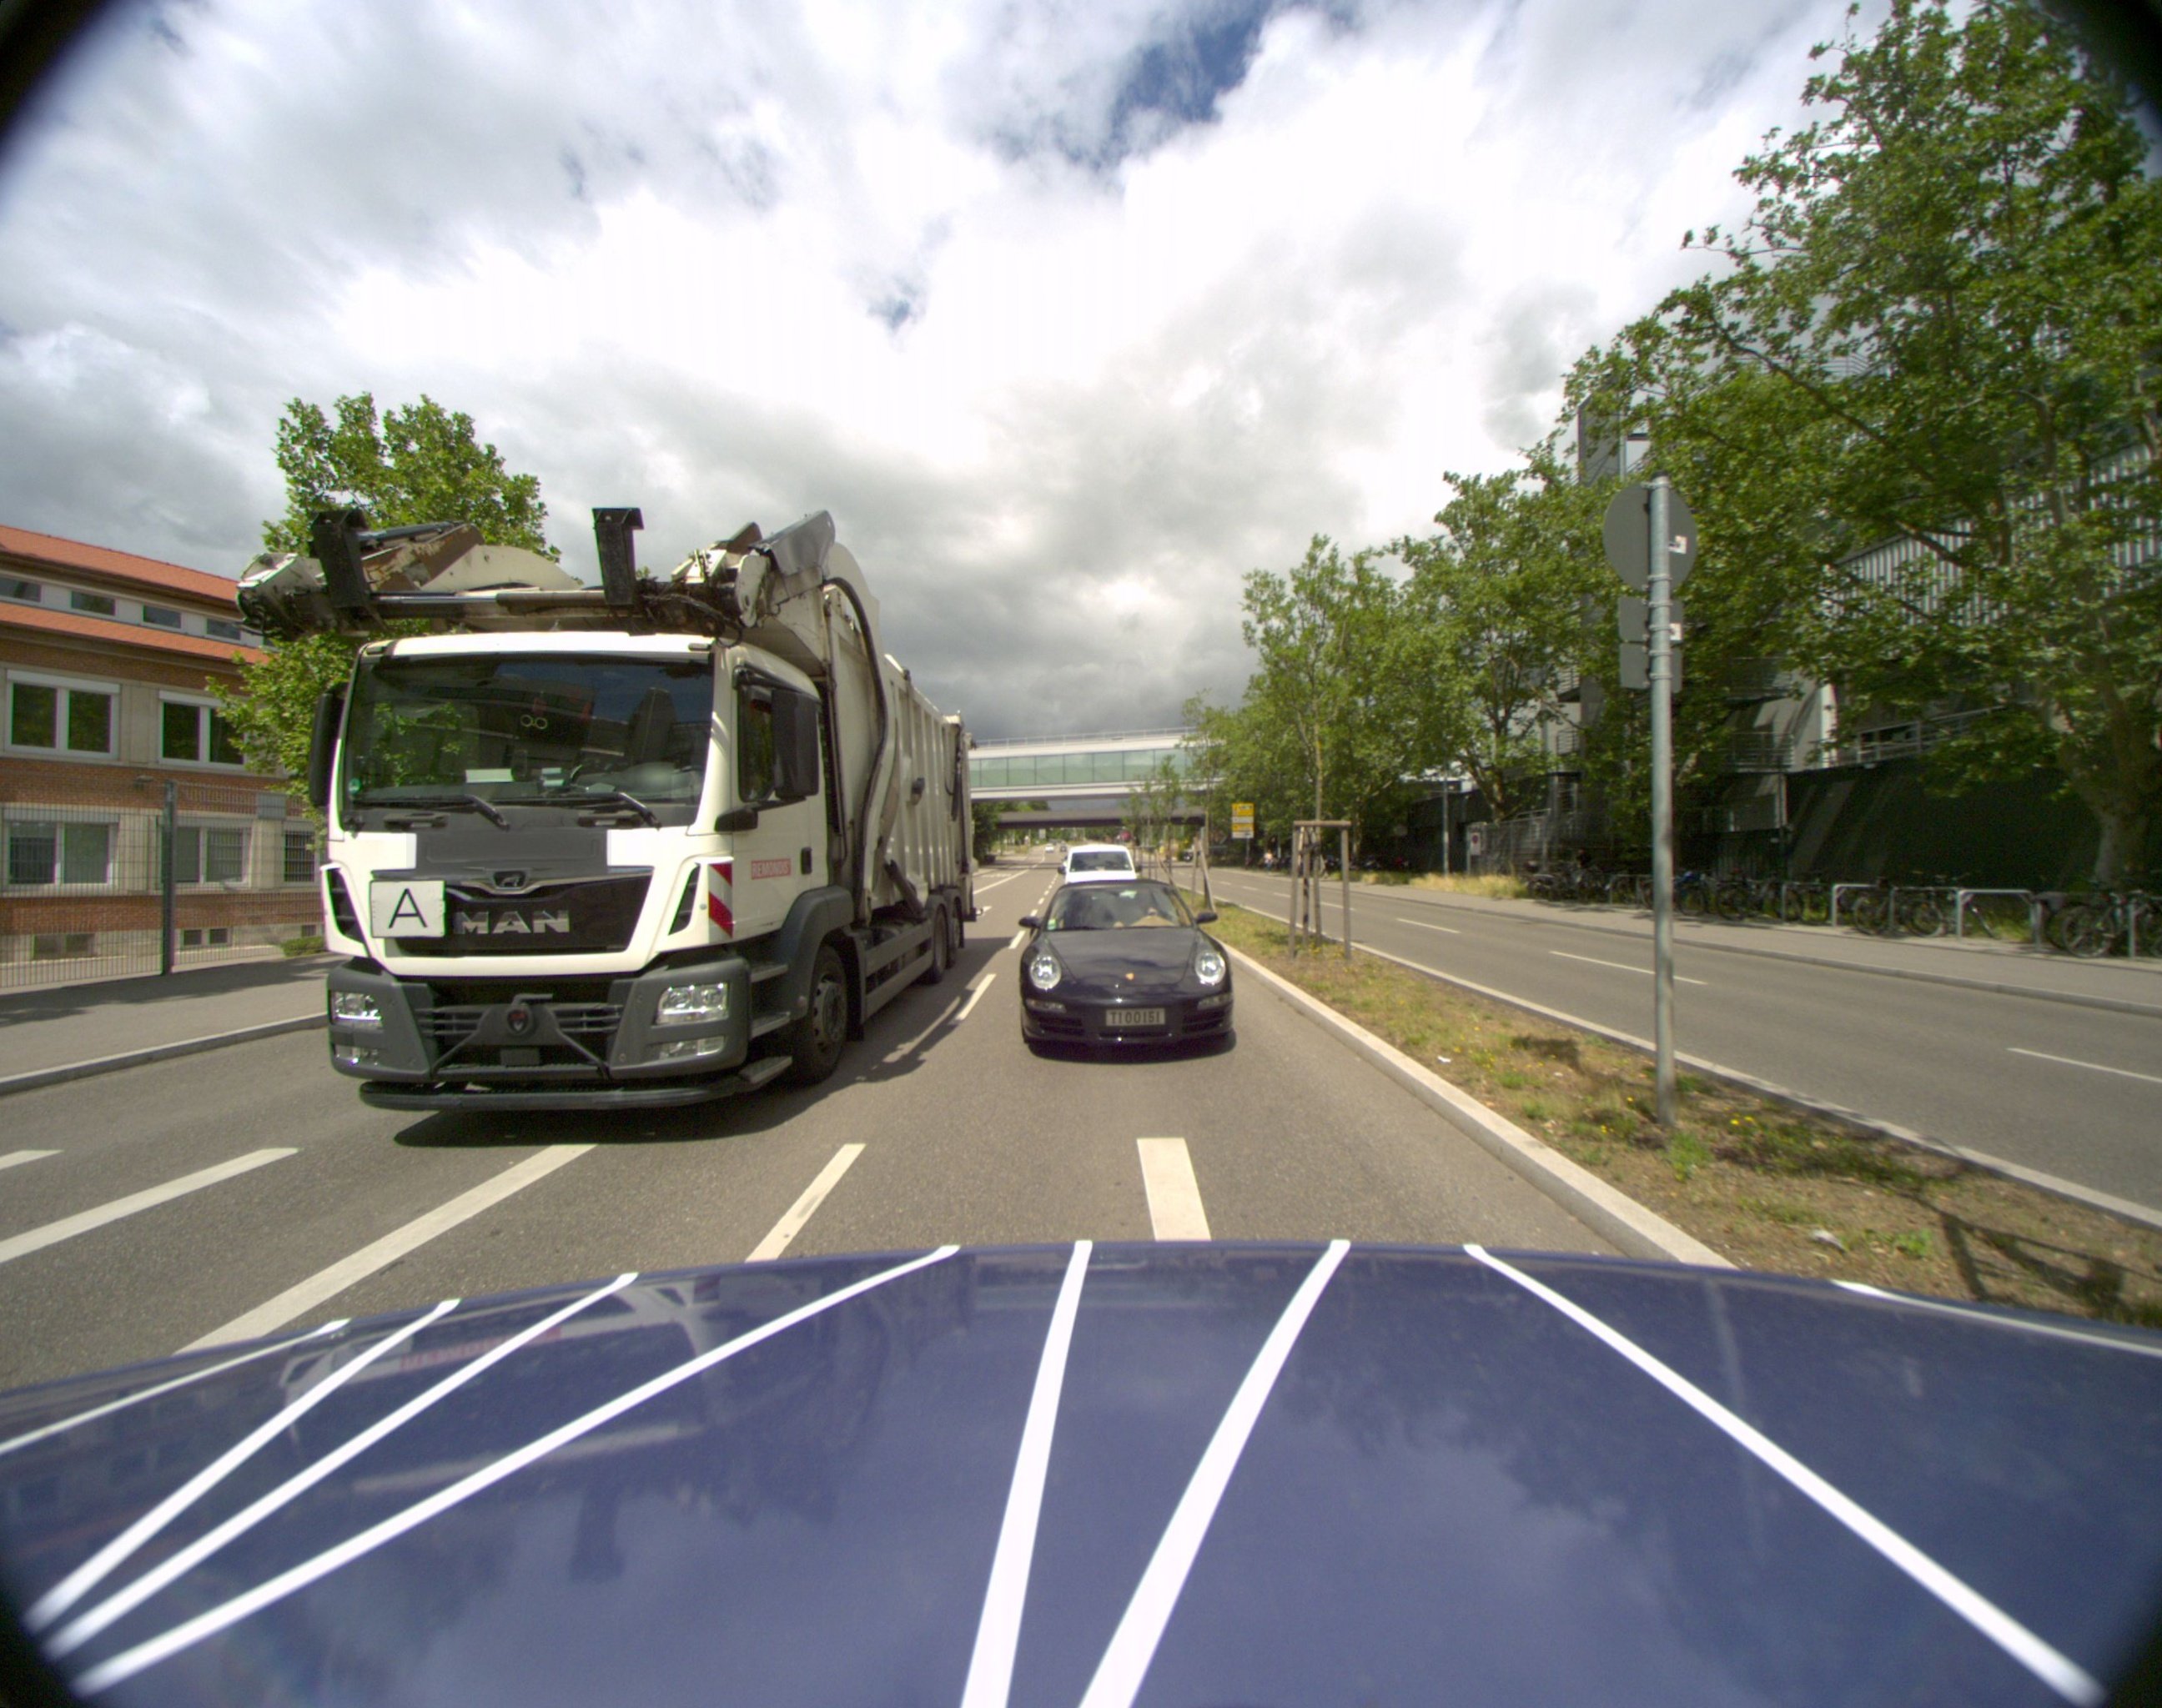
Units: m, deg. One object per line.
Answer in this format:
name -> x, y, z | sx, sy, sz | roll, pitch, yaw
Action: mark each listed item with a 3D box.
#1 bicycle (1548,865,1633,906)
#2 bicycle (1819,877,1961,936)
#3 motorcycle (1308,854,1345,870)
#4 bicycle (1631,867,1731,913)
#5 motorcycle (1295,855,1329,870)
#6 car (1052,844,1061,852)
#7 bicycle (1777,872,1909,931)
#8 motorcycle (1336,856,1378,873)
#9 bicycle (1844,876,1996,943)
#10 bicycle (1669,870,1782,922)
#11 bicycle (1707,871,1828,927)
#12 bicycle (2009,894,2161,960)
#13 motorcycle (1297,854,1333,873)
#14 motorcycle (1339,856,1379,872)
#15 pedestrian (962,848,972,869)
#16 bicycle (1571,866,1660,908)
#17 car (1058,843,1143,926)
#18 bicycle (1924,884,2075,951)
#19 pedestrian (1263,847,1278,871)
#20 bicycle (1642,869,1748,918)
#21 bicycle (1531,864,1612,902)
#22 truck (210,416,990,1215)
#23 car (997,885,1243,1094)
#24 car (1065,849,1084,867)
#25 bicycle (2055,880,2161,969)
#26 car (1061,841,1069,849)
bicycle -> 14.751, 0.906, 22.023 | 2.129, 1.104, 0.382 | -1, 1, 3
bicycle -> 15.010, 0.973, 14.116 | 2.129, 1.025, 0.382 | -1, 1, 3
motorcycle -> 15.423, 0.508, 47.755 | 2.133, 0.963, 0.534 | -1, 0, 1
bicycle -> 15.064, 0.899, 19.088 | 2.129, 1.104, 0.382 | -1, 1, 3
motorcycle -> 15.370, 0.546, 50.570 | 2.133, 0.963, 0.534 | -1, 0, 1
car -> -5.978, -1.491, 188.446 | 1.925, 2.082, 4.657 | -1, 0, 2
bicycle -> 15.040, 0.930, 15.023 | 2.129, 1.104, 0.382 | -1, 1, 3
motorcycle -> 15.390, 0.591, 42.387 | 2.133, 0.893, 0.534 | -1, 0, 1
bicycle -> 14.577, 0.961, 13.222 | 2.129, 1.089, 0.382 | -1, 1, 3
bicycle -> 14.478, 0.936, 17.086 | 2.129, 1.104, 0.382 | -1, 1, 3
bicycle -> 14.499, 0.948, 16.062 | 2.129, 1.104, 0.382 | -1, 1, 3
bicycle -> 14.956, 1.075, 11.242 | 1.993, 0.885, 0.382 | -1, 1, -1
motorcycle -> 15.135, 0.610, 49.116 | 2.133, 1.131, 0.534 | -1, 0, 1
motorcycle -> 16.148, 0.561, 44.192 | 2.133, 0.880, 0.534 | -1, 0, 1
pedestrian -> -10.445, 0.409, 69.839 | 0.739, 1.901, 0.658 | -2, 1, -1
bicycle -> 14.821, 0.919, 21.100 | 2.129, 1.104, 0.382 | -1, 1, 3
car -> 0.479, 0.680, 19.491 | 1.862, 1.800, 4.906 | -1, 0, 1
bicycle -> 14.752, 1.017, 12.221 | 1.993, 0.992, 0.382 | -1, 1, -1
pedestrian -> 13.235, 0.350, 53.019 | 0.900, 1.710, 0.673 | -1, 1, 1
bicycle -> 14.504, 0.928, 17.973 | 2.129, 1.104, 0.382 | -1, 1, 3
bicycle -> 14.747, 0.870, 22.864 | 2.129, 1.104, 0.382 | -1, 1, 3
truck -> -2.982, -0.231, 8.873 | 2.495, 3.890, 10.172 | -2, 1, 0
car -> 0.301, 1.035, 7.270 | 1.710, 1.280, 3.806 | -1, 0, 1
car -> -0.678, 0.396, 72.762 | 1.747, 1.647, 3.544 | -1, 0, -1
bicycle -> 14.353, 0.931, 10.239 | 1.993, 1.121, 0.382 | -1, 1, -1
car -> -4.069, -2.236, 194.307 | 1.862, 1.800, 4.357 | -3, 0, 1
